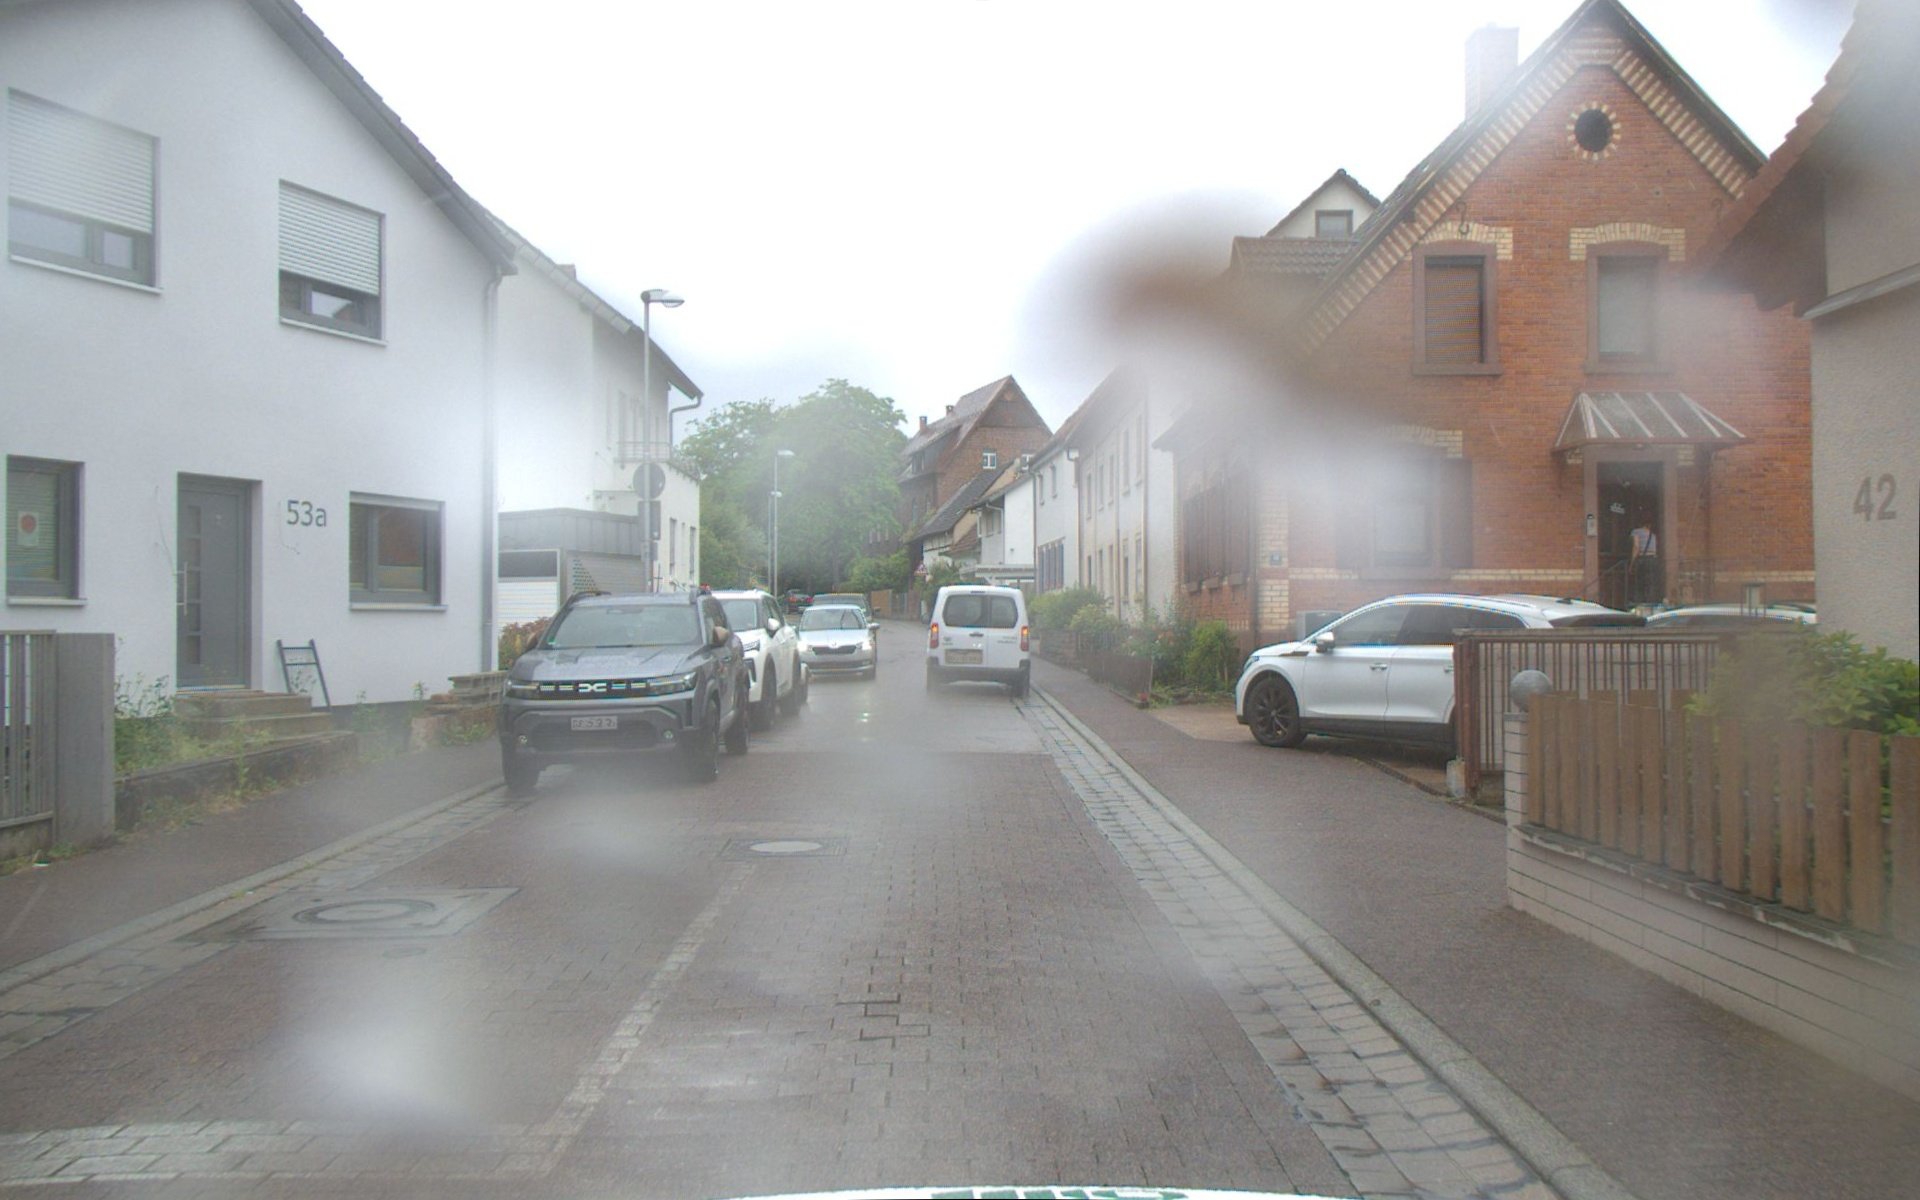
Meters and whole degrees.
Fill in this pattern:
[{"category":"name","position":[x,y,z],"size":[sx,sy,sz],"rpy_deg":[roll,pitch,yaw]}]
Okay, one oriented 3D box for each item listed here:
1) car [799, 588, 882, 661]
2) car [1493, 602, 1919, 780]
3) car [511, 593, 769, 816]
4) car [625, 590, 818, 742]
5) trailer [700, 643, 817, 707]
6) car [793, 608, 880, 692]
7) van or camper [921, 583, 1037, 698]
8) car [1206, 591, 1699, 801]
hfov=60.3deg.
[{"category":"car","position":[-3.027,0.578,42.007],"size":[1.954,1.707,4.779],"rpy_deg":[-1,0,-4]},{"category":"car","position":[7.801,0.827,17.291],"size":[1.848,1.543,4.256],"rpy_deg":[0,1,-26]},{"category":"car","position":[-2.894,0.857,15.772],"size":[1.776,1.810,4.016],"rpy_deg":[-1,0,-2]},{"category":"car","position":[-2.944,0.796,21.293],"size":[1.712,1.665,4.418],"rpy_deg":[-3,-1,1]},{"category":"trailer","position":[-2.993,1.109,25.005],"size":[1.453,0.843,2.675],"rpy_deg":[-2,-1,-1]},{"category":"car","position":[-2.570,1.035,33.893],"size":[1.656,1.592,3.929],"rpy_deg":[-1,-2,-6]},{"category":"van or camper","position":[0.292,0.660,29.204],"size":[1.904,1.883,3.999],"rpy_deg":[0,0,-1]},{"category":"car","position":[4.658,0.806,16.348],"size":[1.853,1.617,4.568],"rpy_deg":[1,2,-33]}]
